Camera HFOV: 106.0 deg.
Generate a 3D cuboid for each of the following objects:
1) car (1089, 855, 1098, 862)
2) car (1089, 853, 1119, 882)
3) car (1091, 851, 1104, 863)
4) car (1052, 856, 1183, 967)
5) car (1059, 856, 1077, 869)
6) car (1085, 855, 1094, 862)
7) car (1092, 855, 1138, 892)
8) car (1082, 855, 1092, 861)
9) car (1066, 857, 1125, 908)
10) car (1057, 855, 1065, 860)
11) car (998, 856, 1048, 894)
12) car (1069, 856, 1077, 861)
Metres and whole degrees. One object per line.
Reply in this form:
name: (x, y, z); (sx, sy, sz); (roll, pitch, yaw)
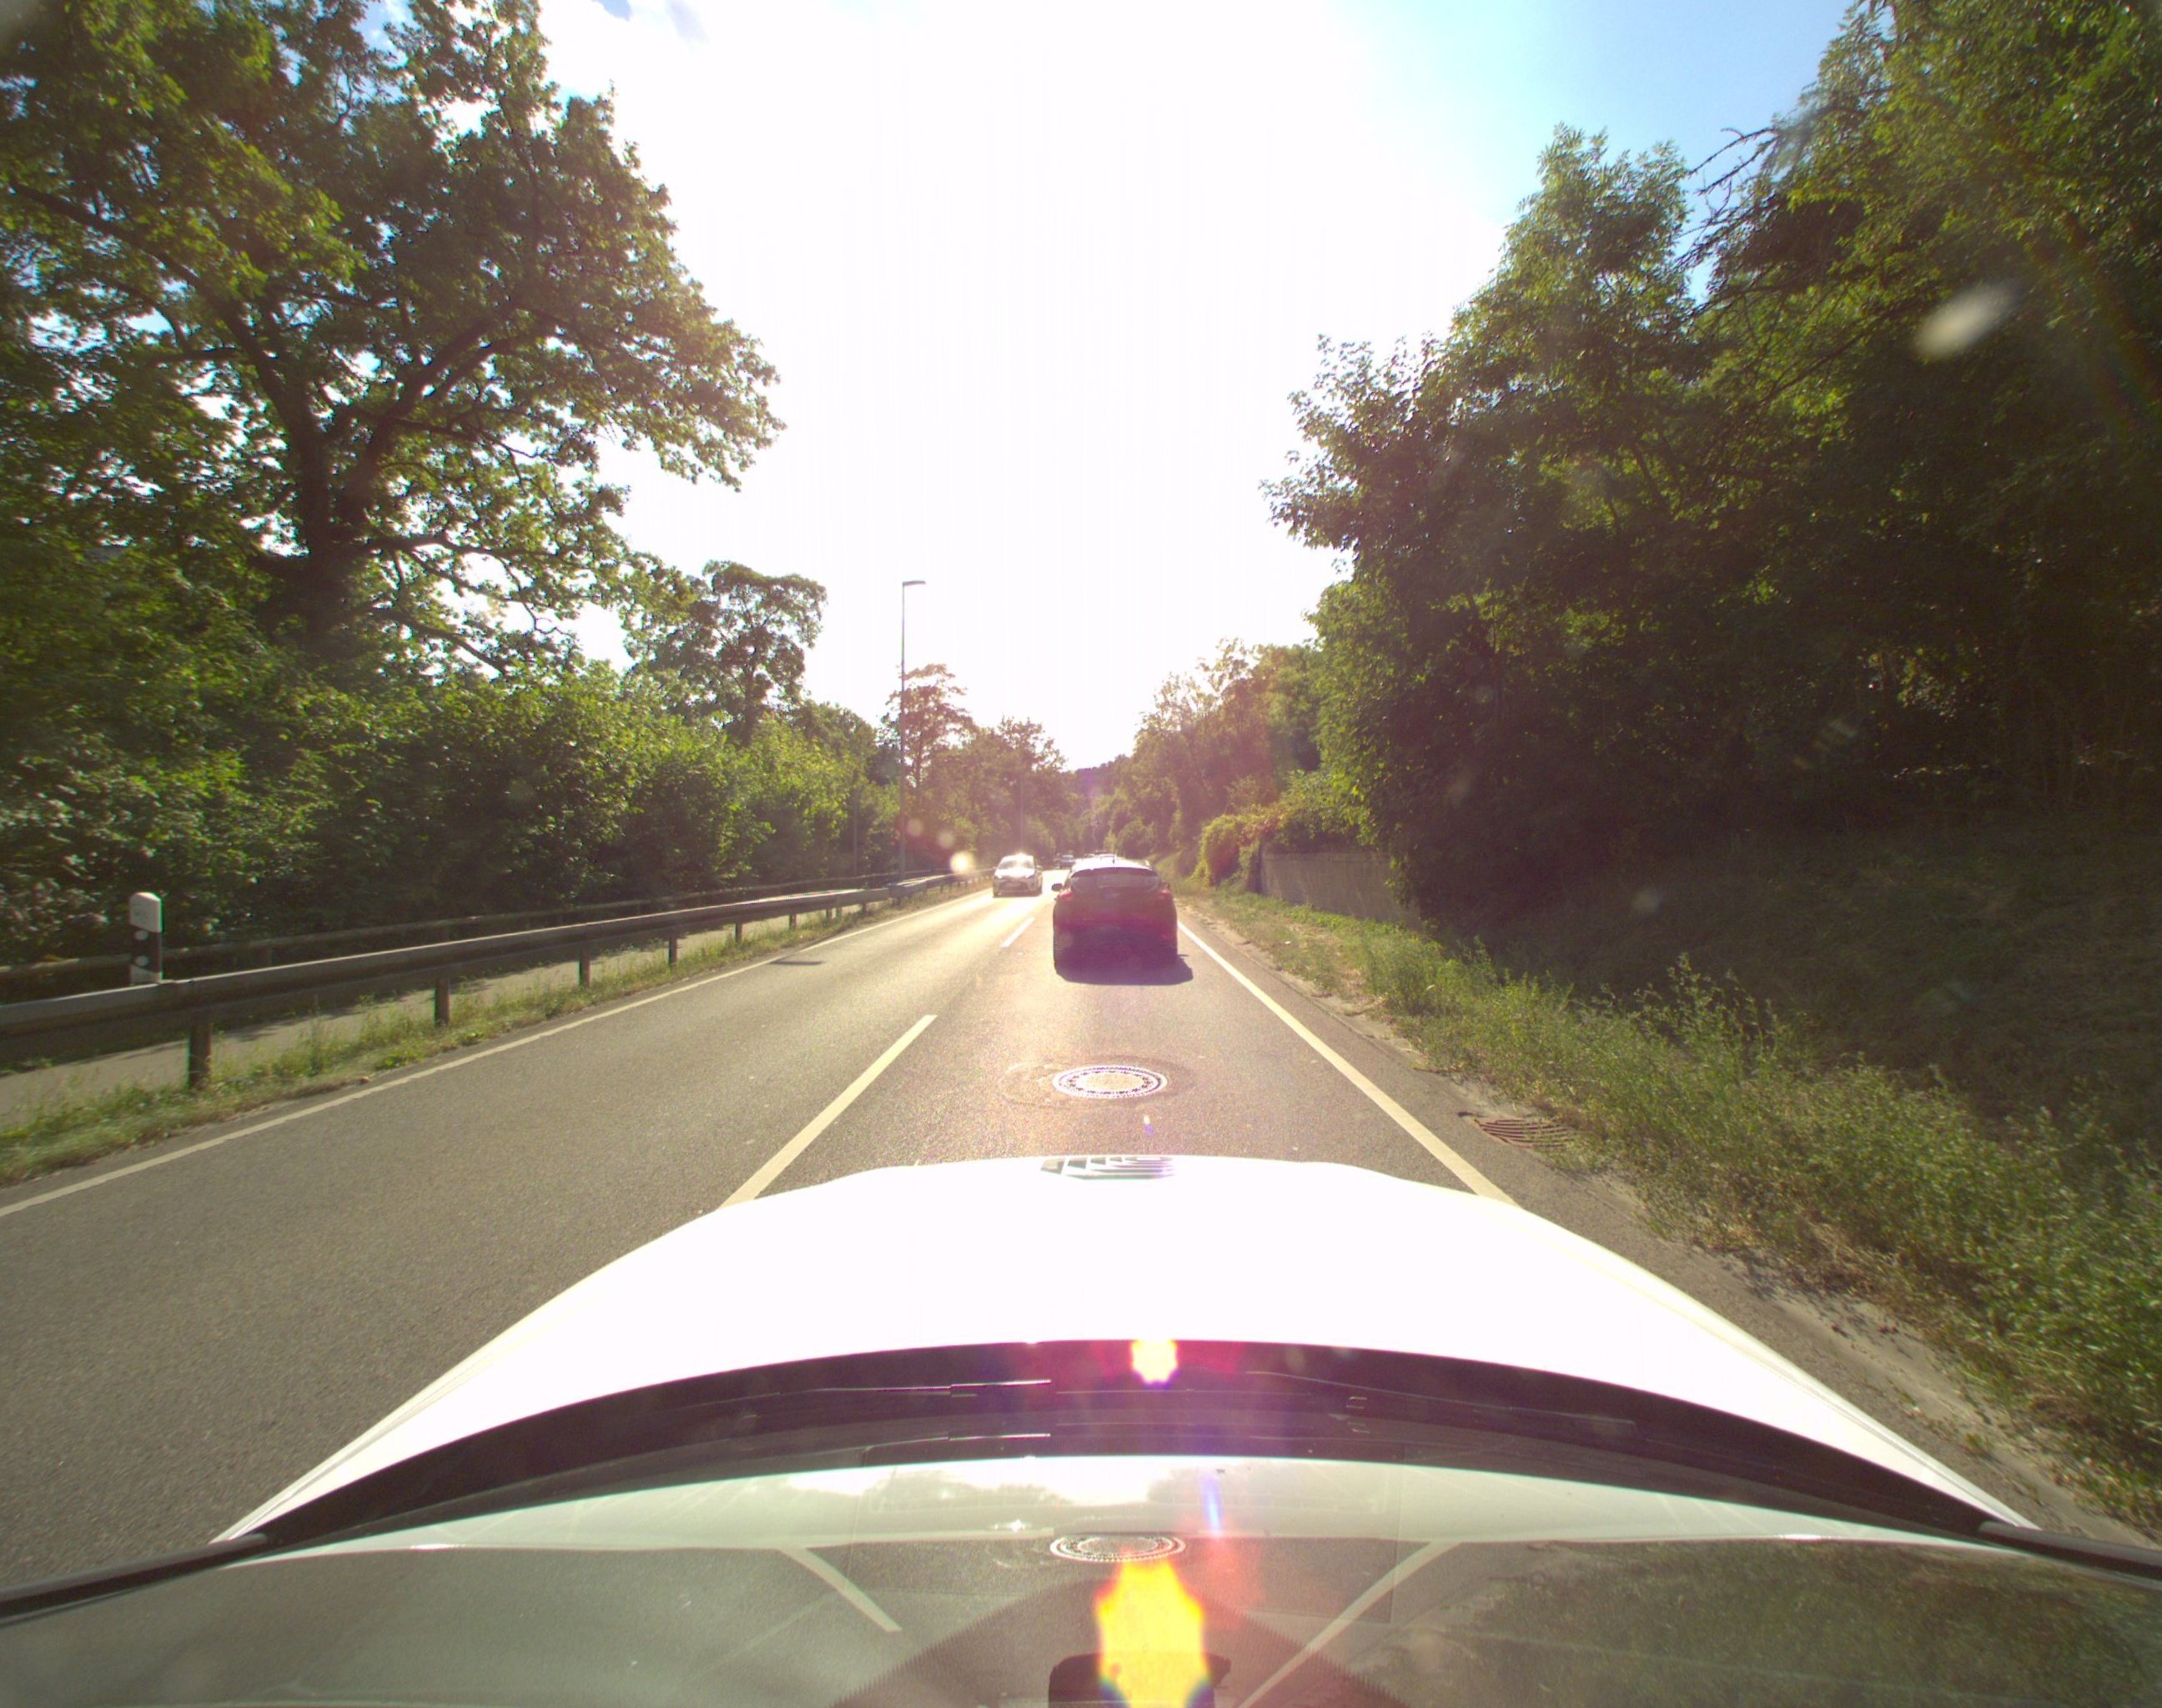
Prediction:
car: (2.751, 0.931, 181.962); (1.812, 1.519, 4.002); (-1, 0, 2)
car: (1.365, 0.760, 47.881); (1.624, 1.596, 4.002); (-1, 0, 2)
car: (2.545, 0.412, 125.928); (1.858, 1.780, 3.997); (-1, 0, -2)
car: (0.549, 0.781, 12.903); (1.733, 1.456, 4.001); (-1, 0, 2)
car: (-1.430, 0.891, 91.733); (1.768, 1.387, 4.002); (-1, 0, 2)
car: (2.033, 1.046, 195.005); (1.987, 1.519, 3.999); (-1, 0, 0)
car: (1.411, 0.777, 34.159); (1.798, 1.391, 4.002); (-1, 0, 2)
car: (1.430, 1.090, 205.286); (1.991, 1.519, 3.992); (-1, 0, -6)
car: (0.518, 0.825, 25.262); (1.654, 1.418, 4.003); (-1, 0, 3)
car: (-6.353, 1.083, 257.412); (1.994, 1.519, 3.986); (-1, 0, -10)
car: (-2.339, 0.808, 33.877); (1.675, 1.463, 4.198); (-1, 0, 1)
car: (-2.422, 1.239, 236.877); (1.991, 1.519, 3.992); (-1, 0, -5)
